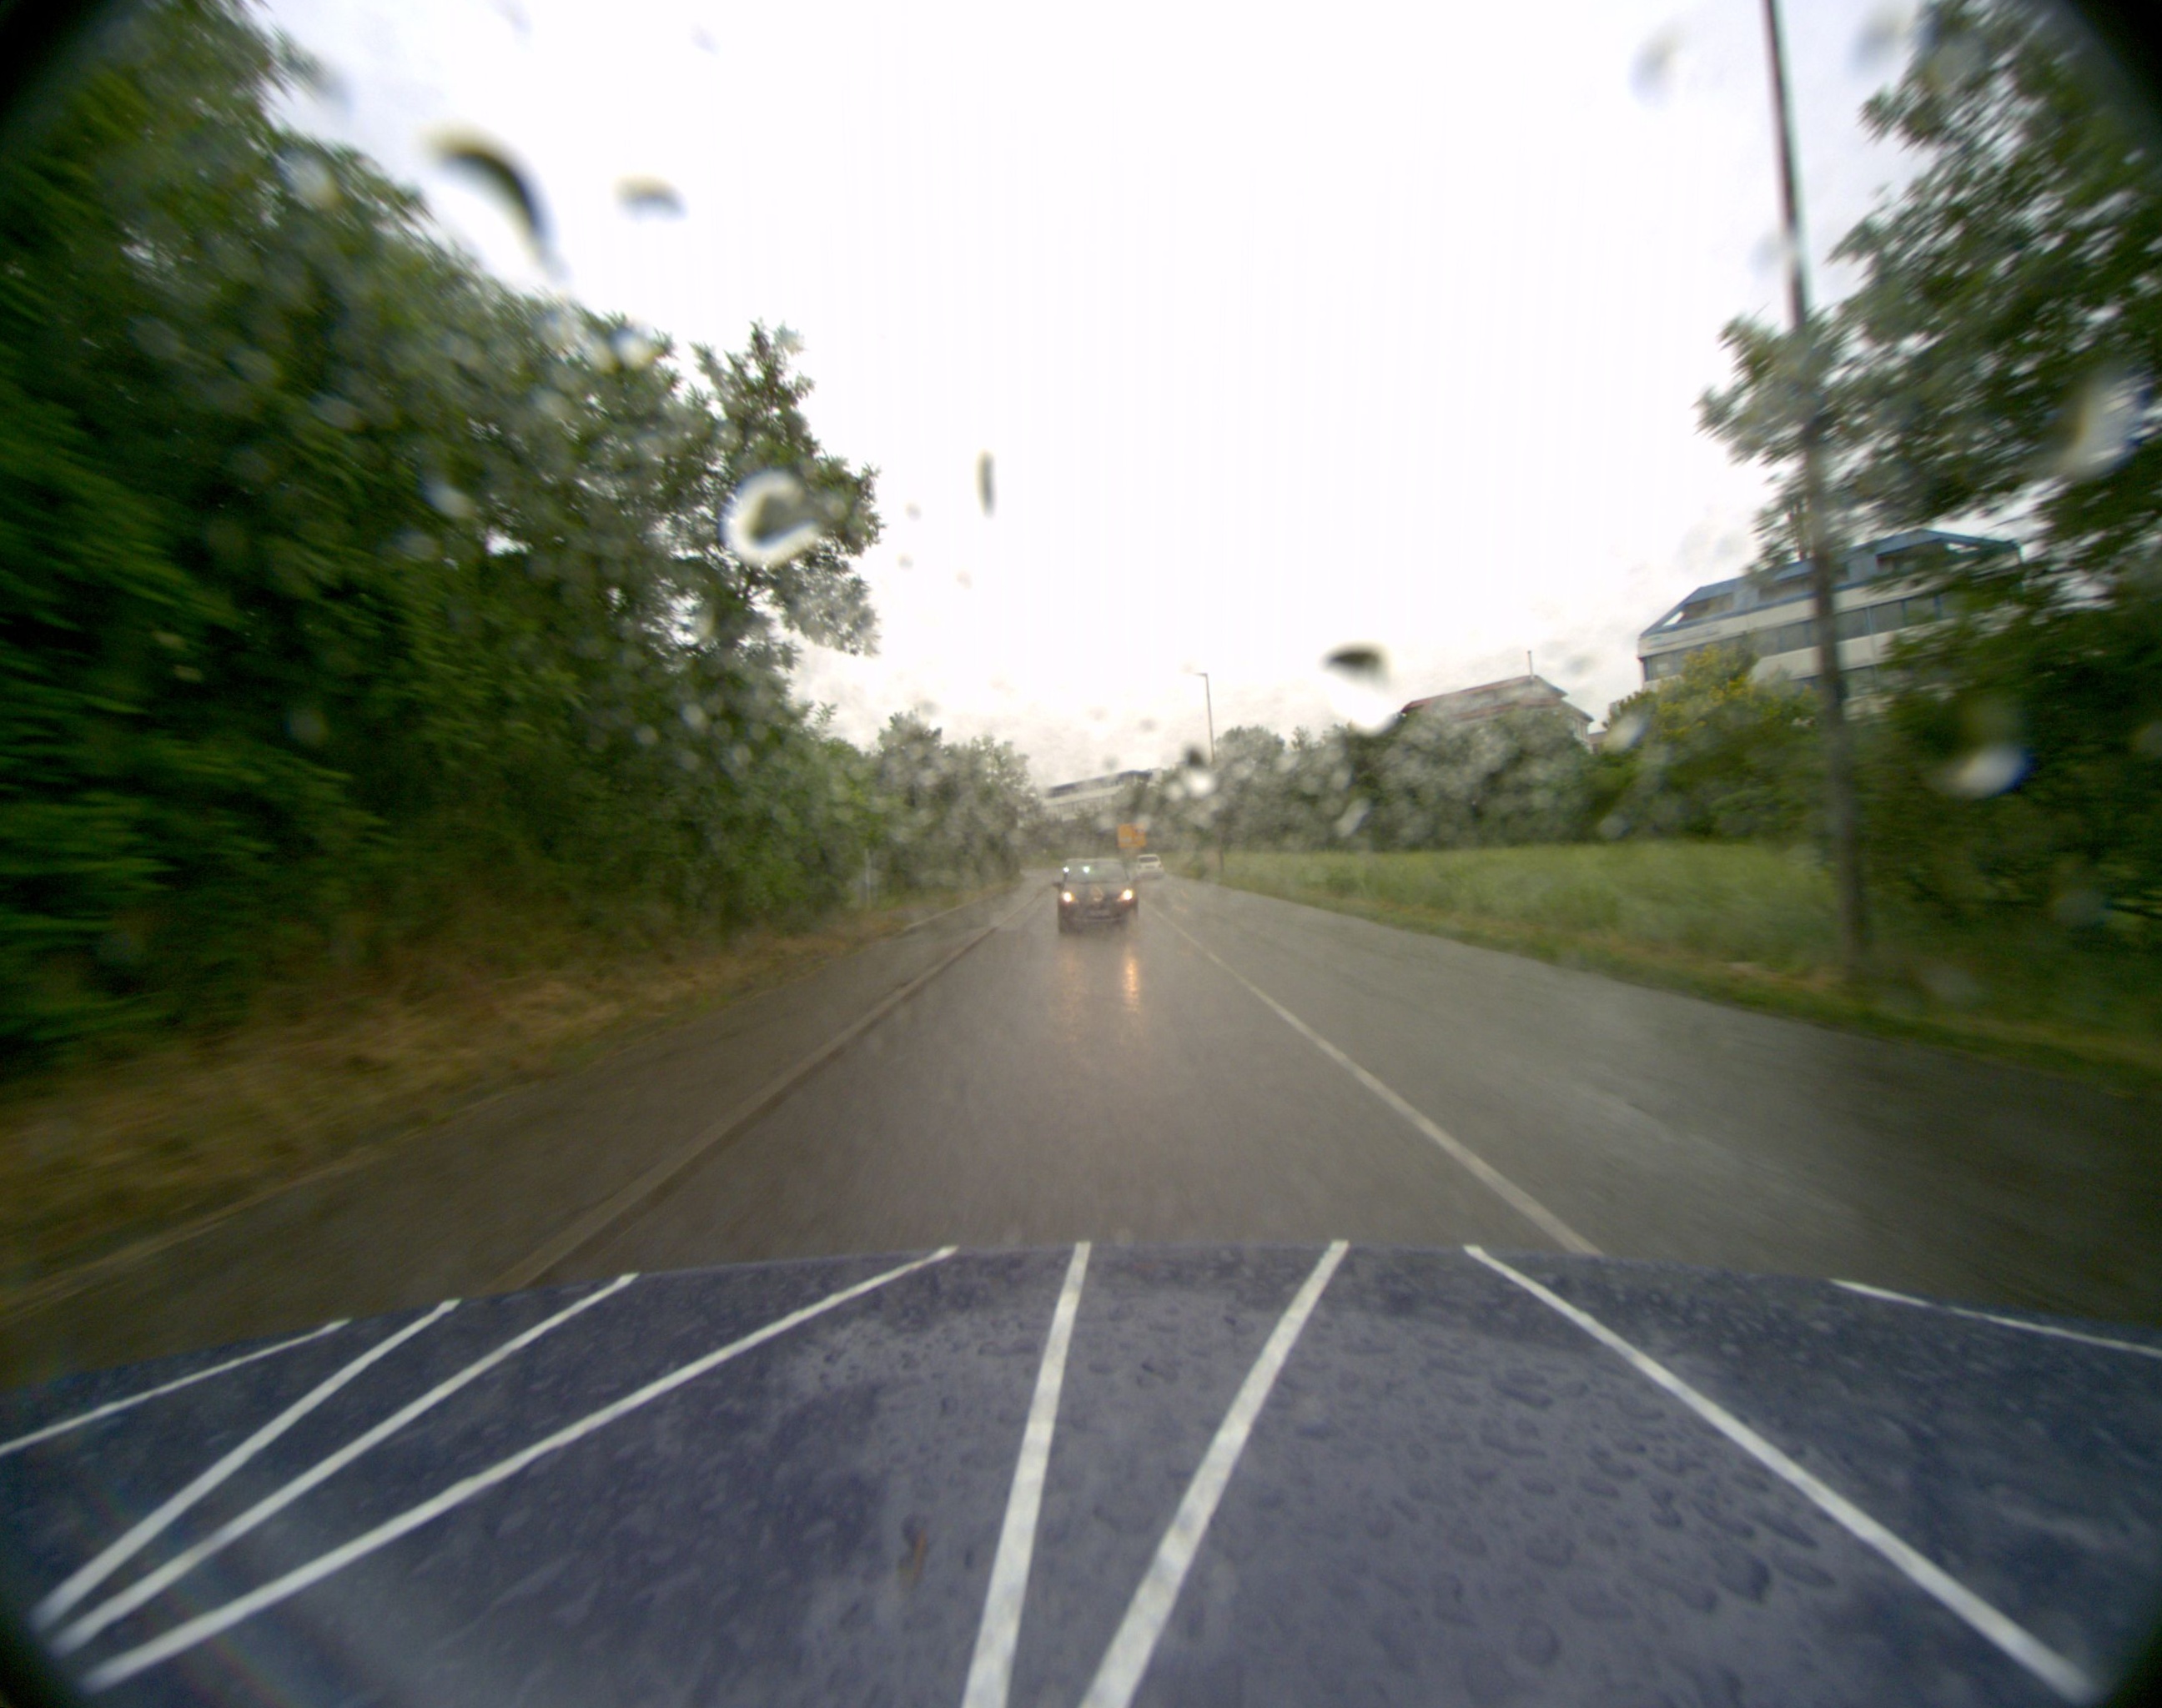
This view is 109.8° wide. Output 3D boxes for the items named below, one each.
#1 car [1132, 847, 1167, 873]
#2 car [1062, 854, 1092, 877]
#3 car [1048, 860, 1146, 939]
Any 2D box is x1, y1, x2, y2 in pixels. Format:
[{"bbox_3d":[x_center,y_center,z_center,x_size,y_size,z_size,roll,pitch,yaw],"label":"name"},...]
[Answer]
[{"bbox_3d":[4.101,0.327,45.782,1.643,1.480,3.453,-2,1,-1],"label":"car"},{"bbox_3d":[-0.335,0.798,53.339,1.874,1.432,4.377,-3,0,-2],"label":"car"},{"bbox_3d":[0.262,0.923,17.215,1.874,1.432,4.377,-3,0,-1],"label":"car"}]
